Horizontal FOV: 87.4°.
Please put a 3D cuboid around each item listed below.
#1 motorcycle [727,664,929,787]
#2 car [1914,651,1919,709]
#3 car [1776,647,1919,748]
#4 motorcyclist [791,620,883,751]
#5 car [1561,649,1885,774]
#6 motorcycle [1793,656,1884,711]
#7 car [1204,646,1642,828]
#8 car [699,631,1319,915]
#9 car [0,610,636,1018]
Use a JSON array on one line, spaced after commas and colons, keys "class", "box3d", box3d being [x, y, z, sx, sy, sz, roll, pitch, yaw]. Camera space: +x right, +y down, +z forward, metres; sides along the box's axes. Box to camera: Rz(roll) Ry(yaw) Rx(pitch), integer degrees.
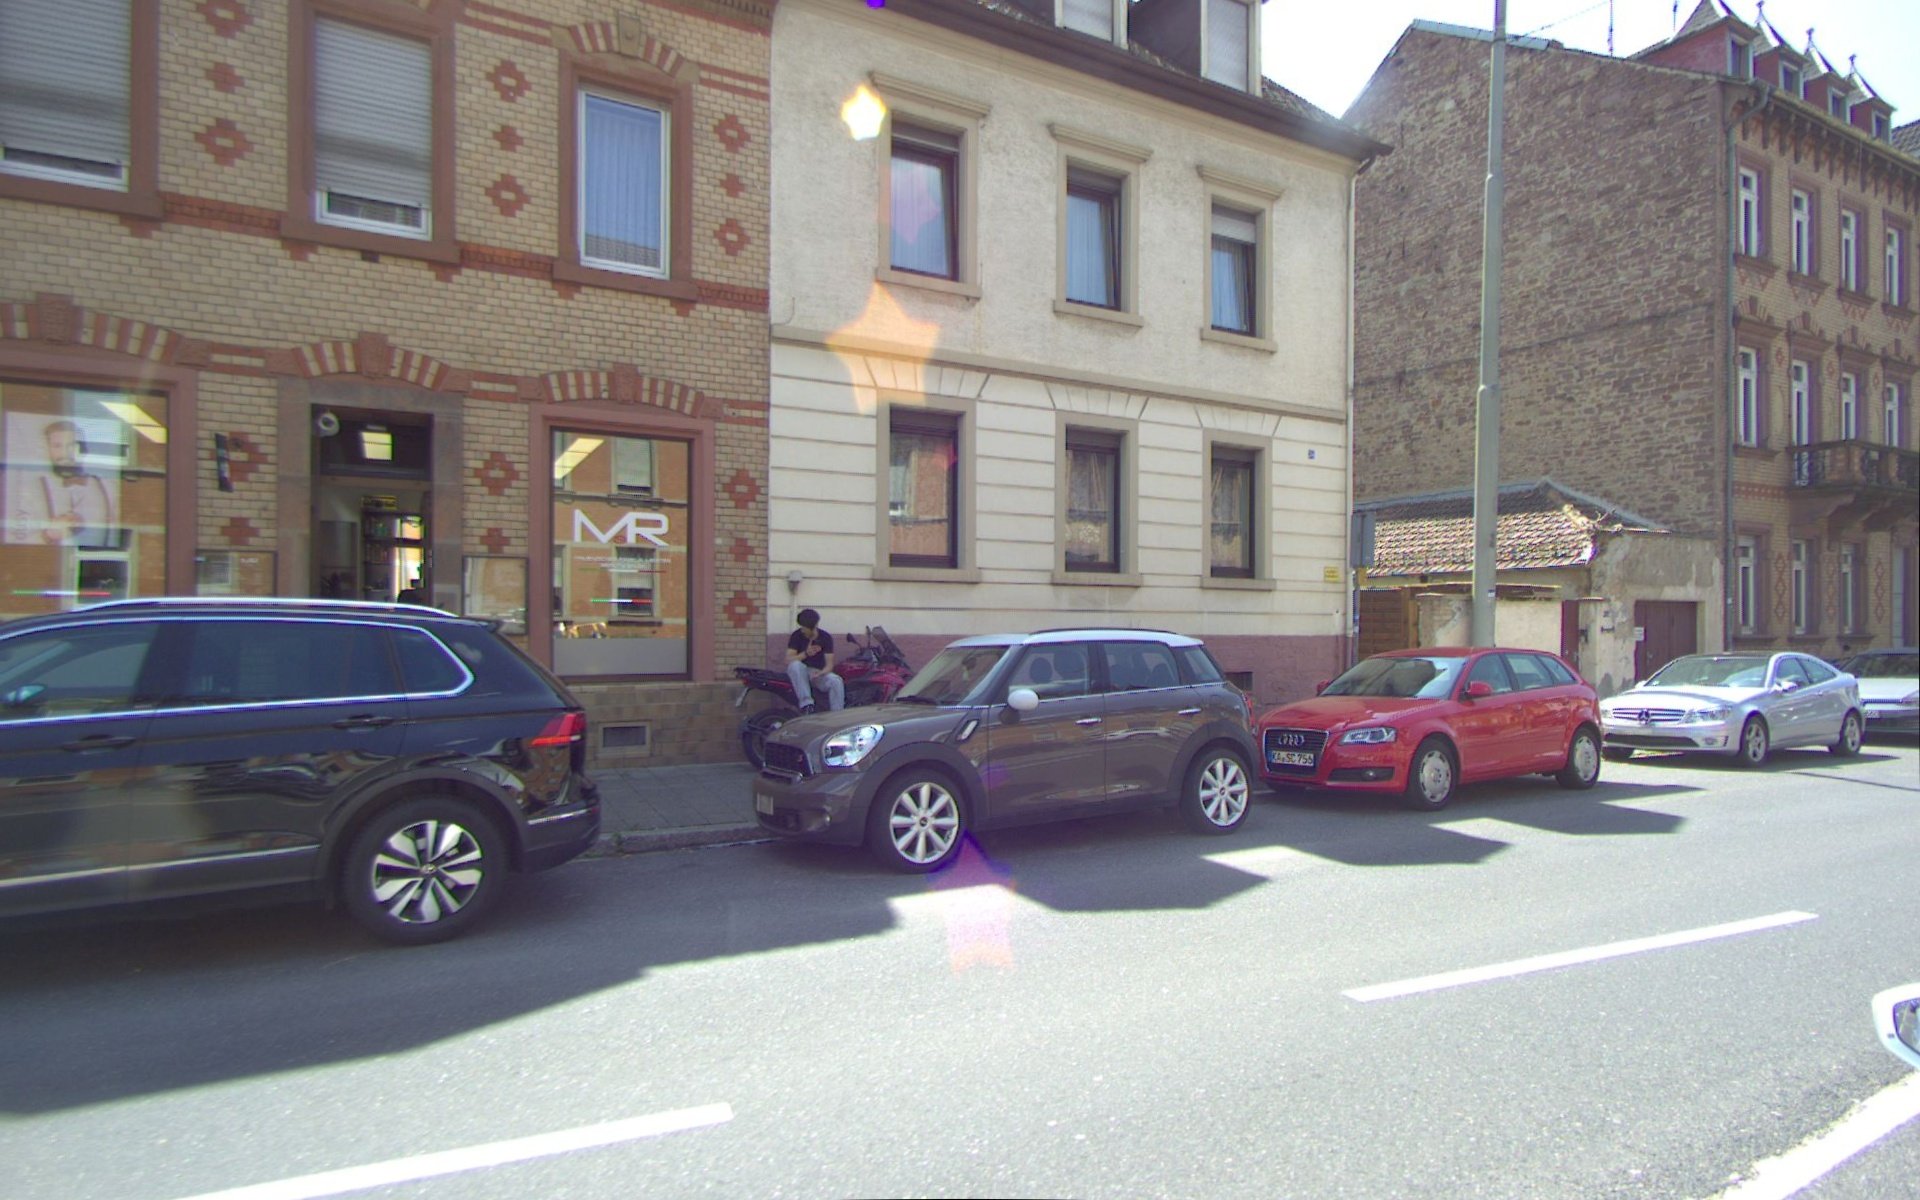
[{"class": "motorcycle", "box3d": [-1.319, 1.218, 10.140, 1.849, 1.092, 0.841, 1, -2, -29]}, {"class": "car", "box3d": [20.130, 1.630, 18.846, 4.445, 1.440, 1.834, 1, -6, -28]}, {"class": "car", "box3d": [15.388, 1.549, 16.251, 4.449, 1.440, 1.833, 2, -7, -30]}, {"class": "motorcyclist", "box3d": [-1.252, 0.842, 10.178, 0.703, 1.264, 0.715, 1, -2, -30]}, {"class": "car", "box3d": [10.284, 1.400, 13.488, 4.449, 1.441, 1.832, 2, -4, -30]}, {"class": "motorcycle", "box3d": [18.079, 1.696, 20.664, 1.910, 1.067, 0.711, 1, -2, -26]}, {"class": "car", "box3d": [4.719, 1.228, 10.061, 4.453, 1.440, 1.830, 1, -5, -33]}, {"class": "car", "box3d": [0.452, 1.126, 7.683, 4.449, 1.617, 1.832, 2, -6, -30]}, {"class": "car", "box3d": [-4.066, 0.914, 4.933, 4.449, 1.617, 1.832, 2, -4, -30]}]
